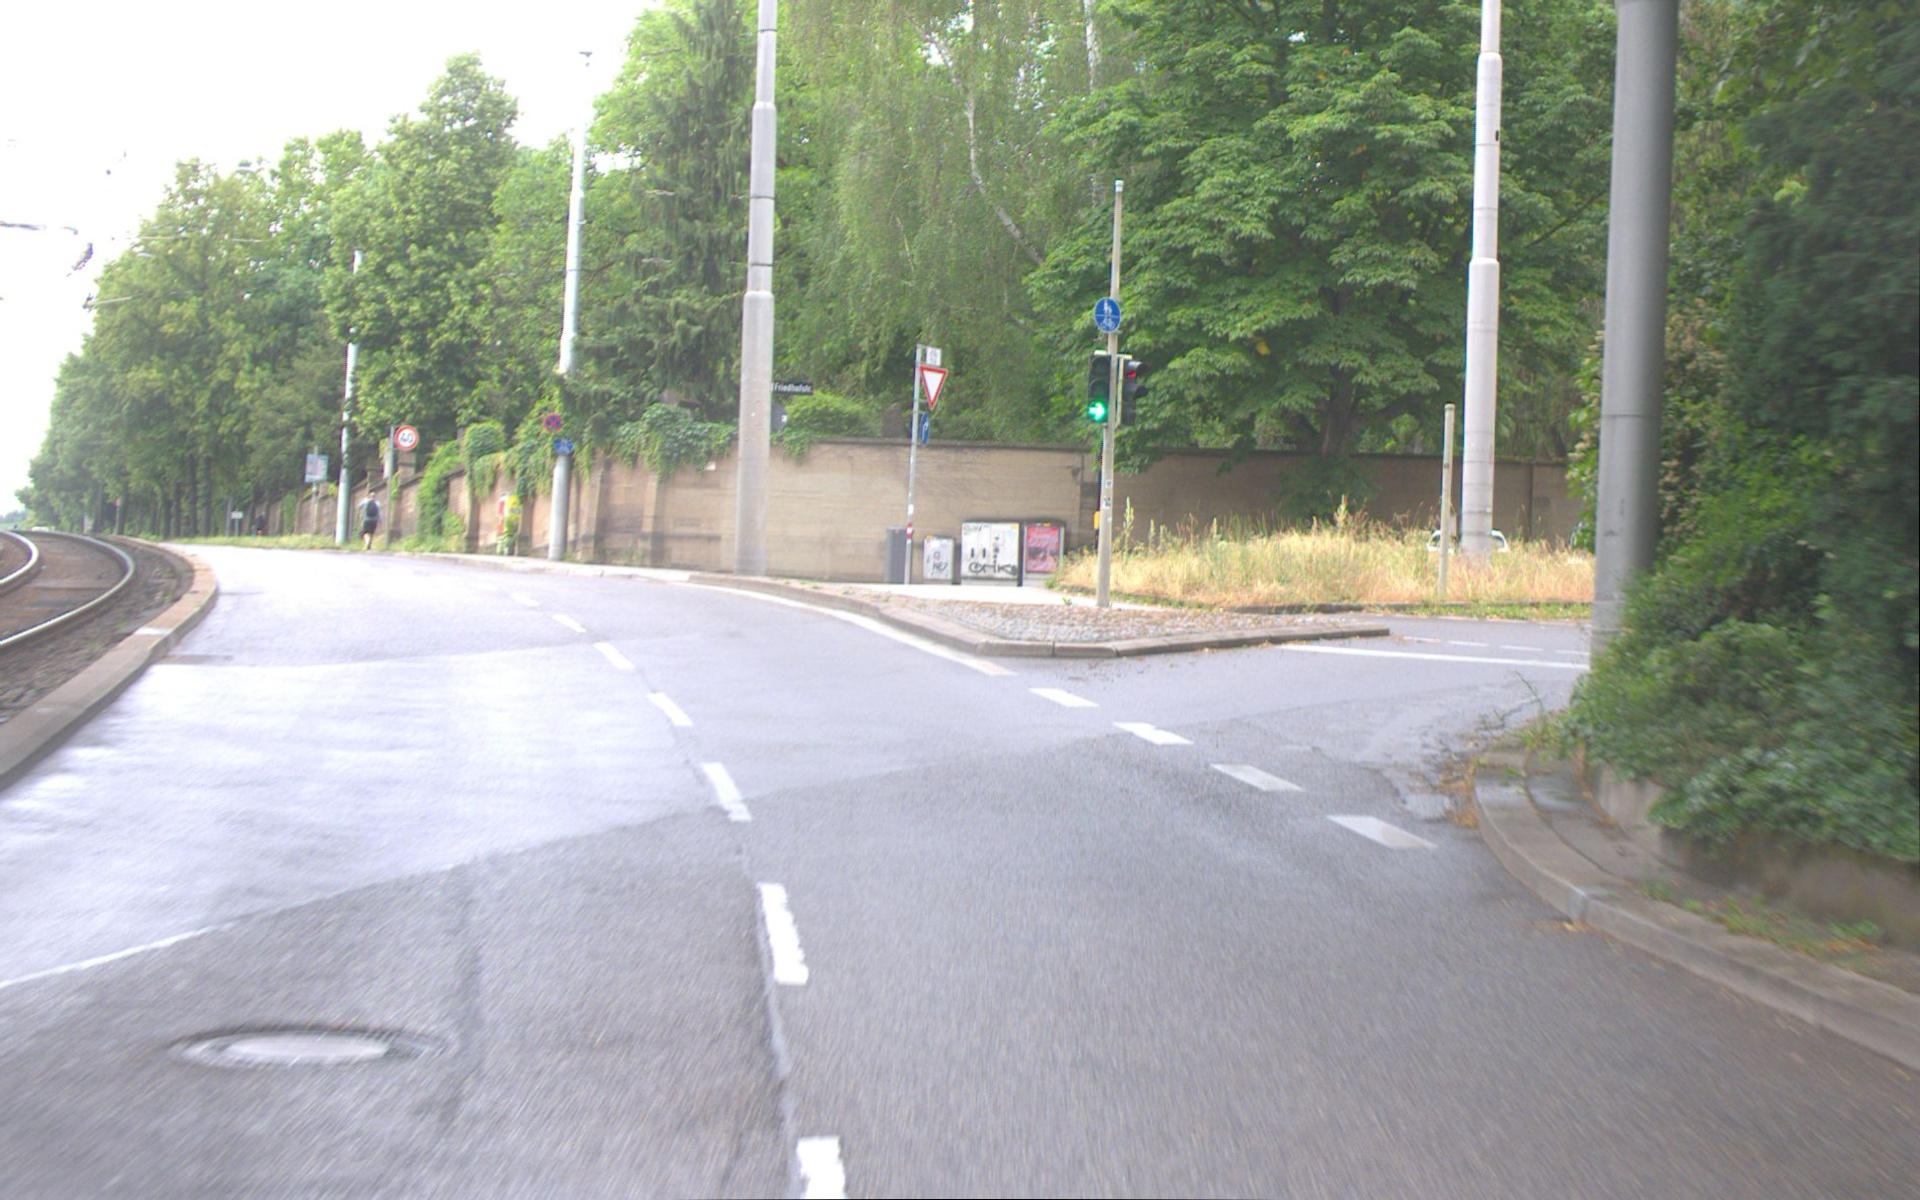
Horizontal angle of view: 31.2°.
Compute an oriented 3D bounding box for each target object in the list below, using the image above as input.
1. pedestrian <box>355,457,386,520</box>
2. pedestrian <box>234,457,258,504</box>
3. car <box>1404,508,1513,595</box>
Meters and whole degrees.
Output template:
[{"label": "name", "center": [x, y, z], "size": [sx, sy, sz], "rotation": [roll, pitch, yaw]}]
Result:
[{"label": "pedestrian", "center": [-17.702, -3.351, 103.186], "size": [0.719, 1.843, 0.783], "rotation": [4, 0, -16]}, {"label": "pedestrian", "center": [-26.553, -4.430, 127.858], "size": [0.719, 1.681, 0.729], "rotation": [4, 0, -16]}, {"label": "car", "center": [8.577, -0.818, 59.211], "size": [1.753, 1.401, 3.999], "rotation": [2, 1, 8]}]
